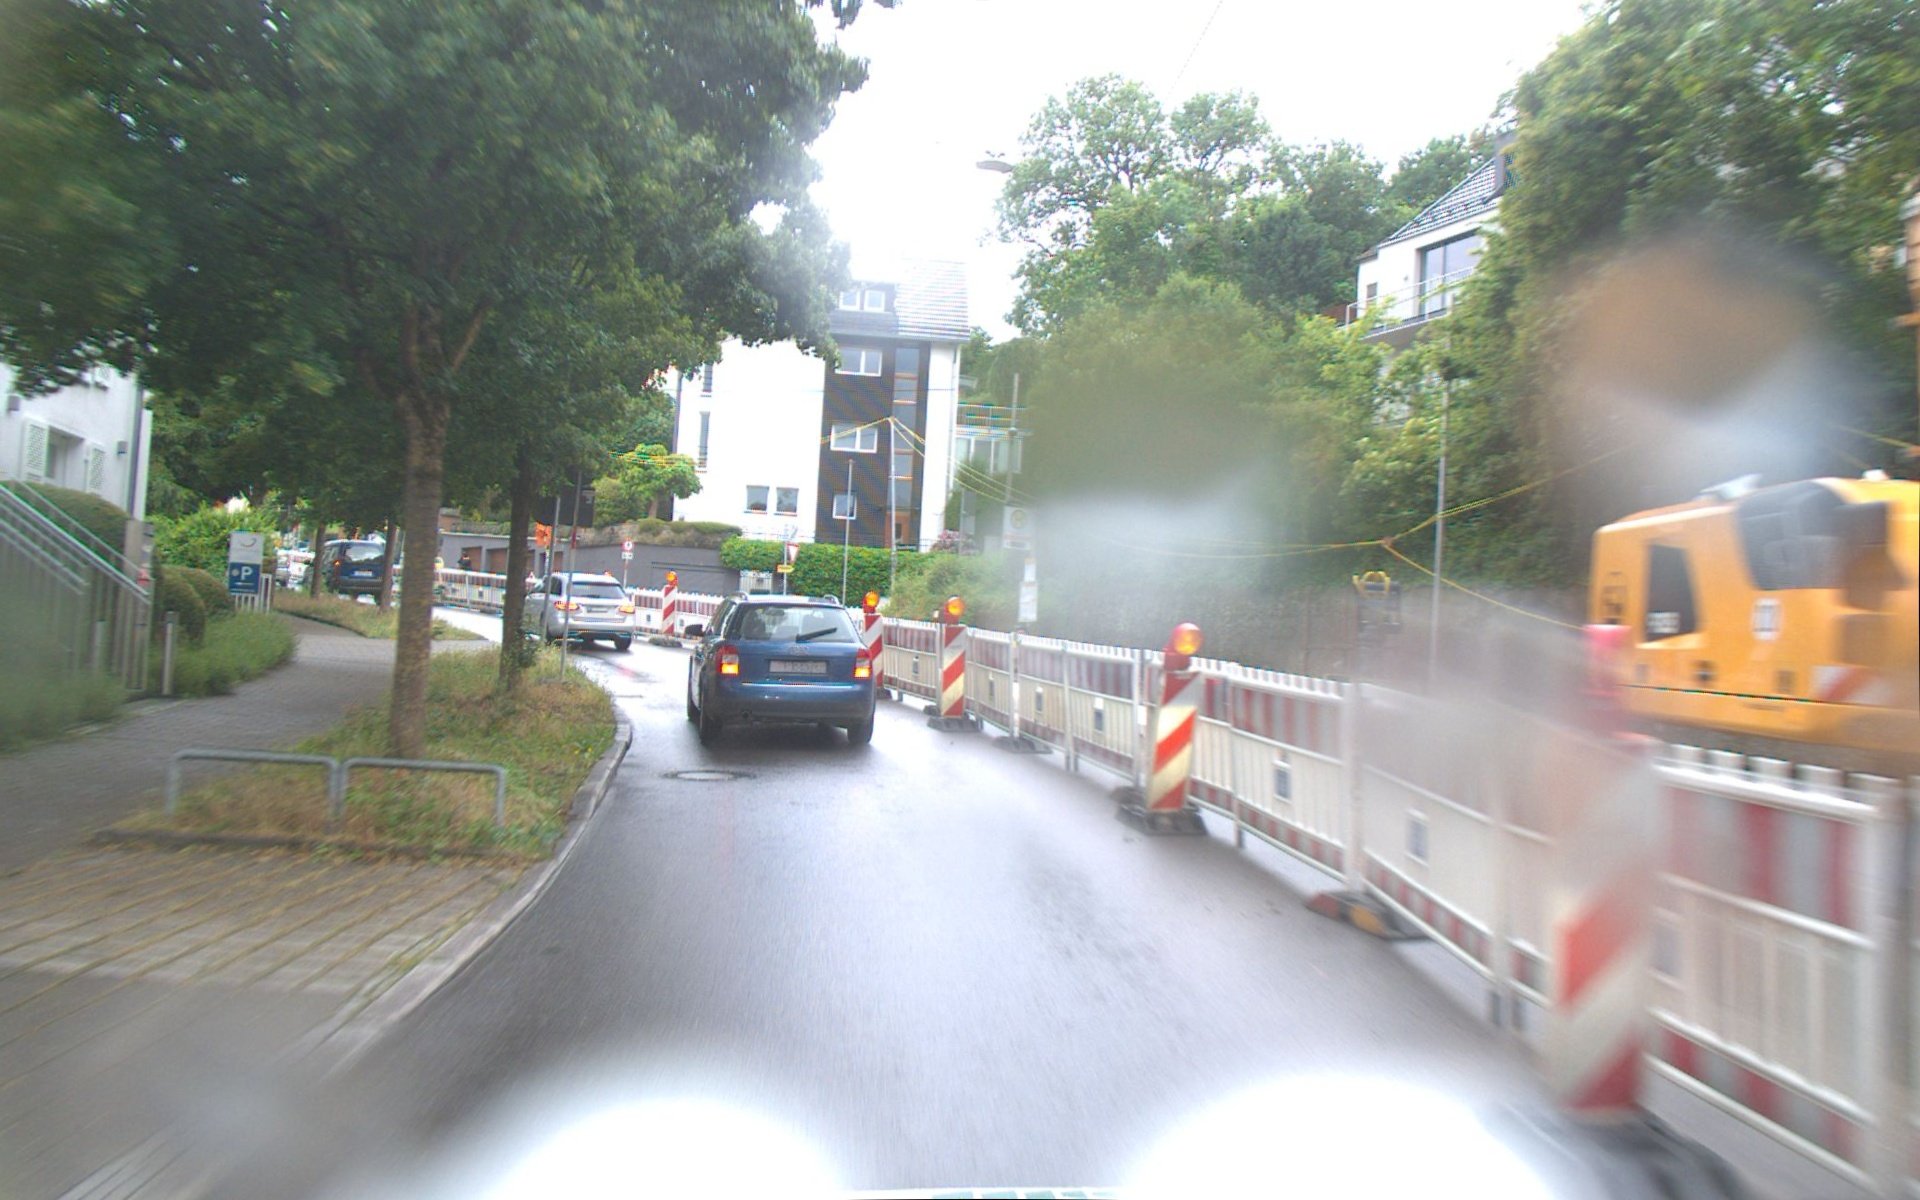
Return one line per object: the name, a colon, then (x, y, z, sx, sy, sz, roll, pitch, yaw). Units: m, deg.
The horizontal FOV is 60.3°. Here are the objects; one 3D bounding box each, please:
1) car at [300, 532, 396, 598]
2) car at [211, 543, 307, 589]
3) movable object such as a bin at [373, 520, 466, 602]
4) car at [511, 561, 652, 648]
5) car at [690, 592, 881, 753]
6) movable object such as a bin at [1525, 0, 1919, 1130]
car: (-18.474, -0.999, 49.833, 1.974, 1.825, 3.956, 1, -1, -32)
car: (-25.009, -1.182, 58.973, 4.006, 1.512, 1.715, -1, -1, 44)
movable object such as a bin: (-19.198, -1.414, 58.627, 1.977, 2.658, 3.952, 2, 3, -36)
car: (-7.875, 0.066, 34.149, 1.902, 1.646, 4.285, 2, 0, -26)
car: (-1.906, 0.660, 17.317, 1.753, 1.467, 3.956, 0, 0, -9)
movable object such as a bin: (4.823, -0.133, 6.367, 2.761, 4.084, 7.327, 2, 0, 1)
